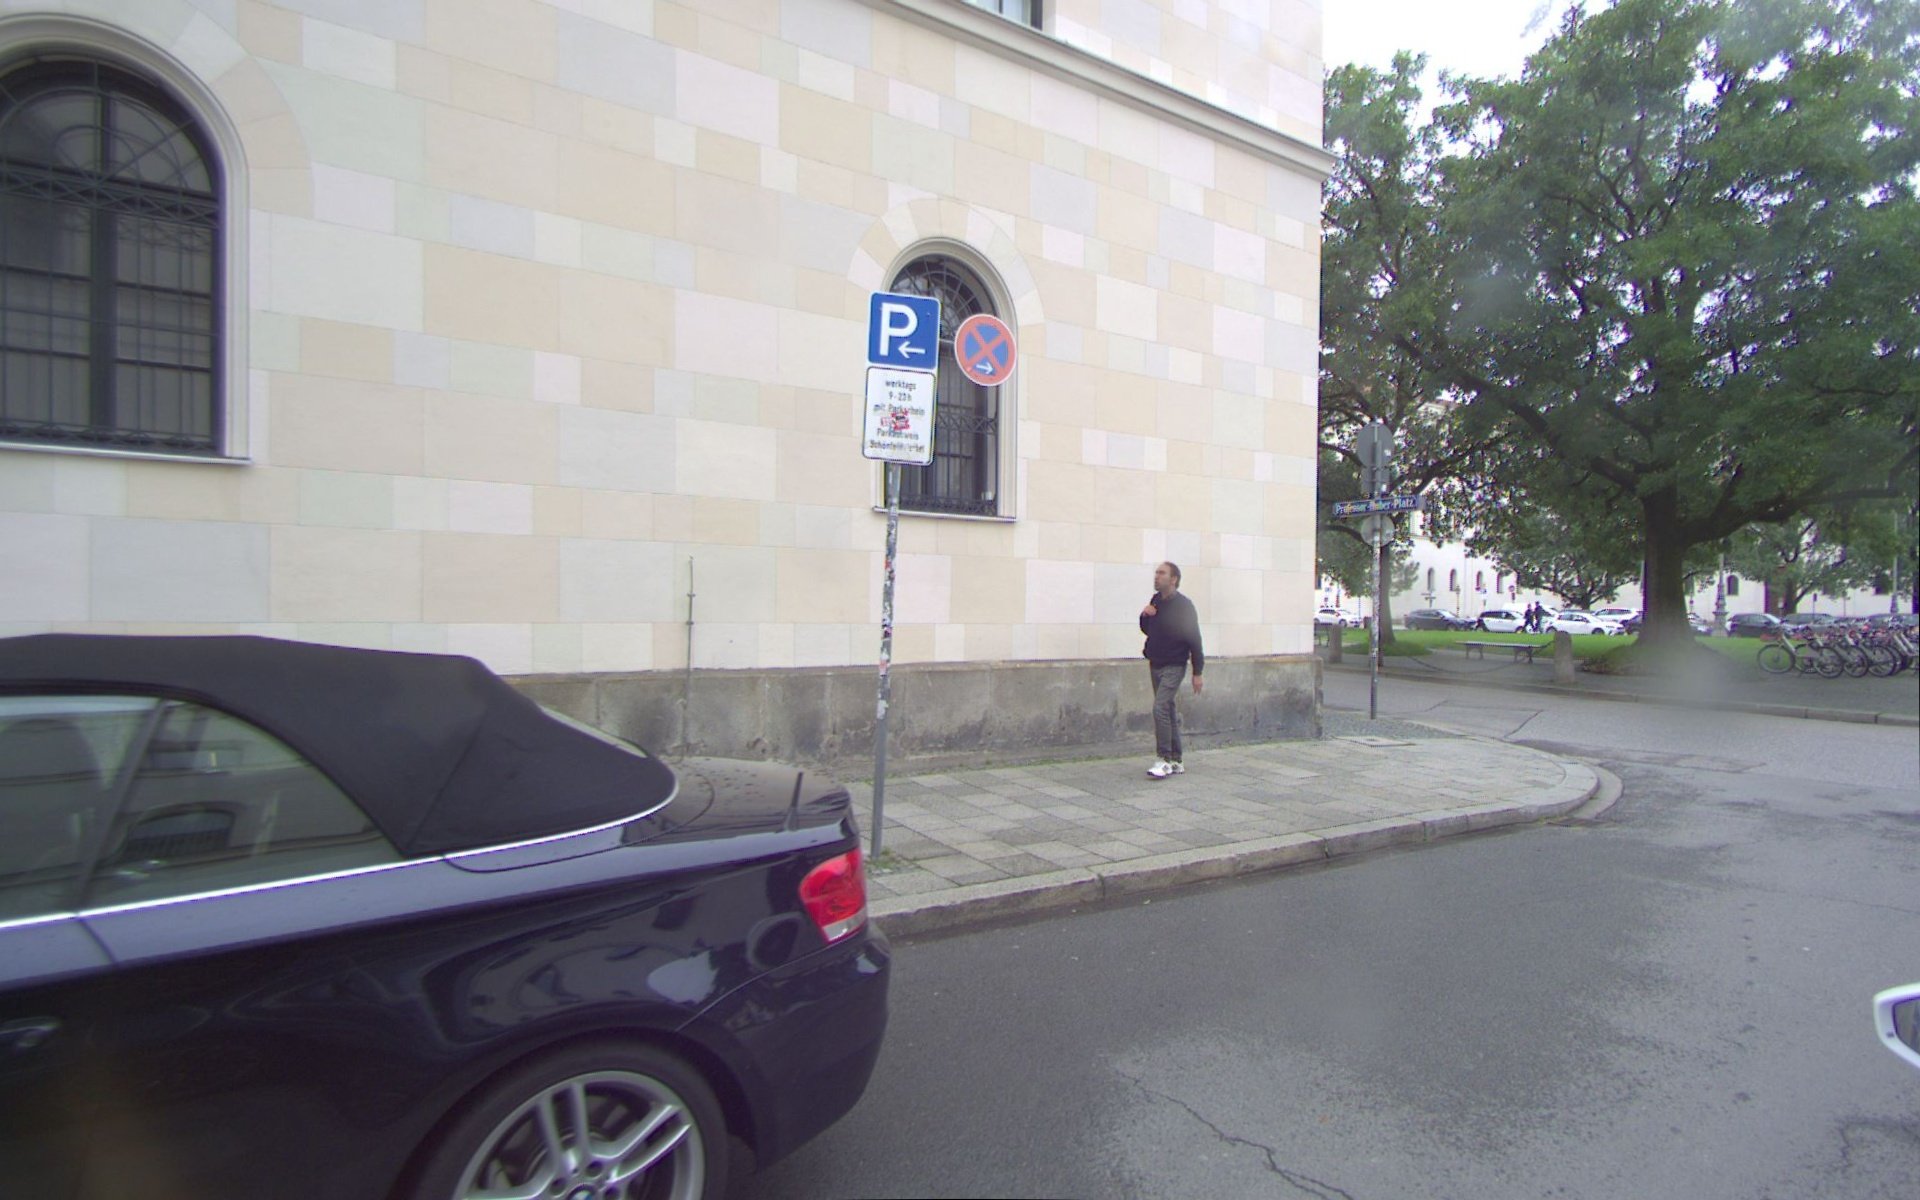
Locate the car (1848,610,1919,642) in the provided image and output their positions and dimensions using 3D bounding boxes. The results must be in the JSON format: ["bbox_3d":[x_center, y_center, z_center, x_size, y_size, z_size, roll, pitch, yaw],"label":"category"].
[{"bbox_3d":[43.039,1.171,45.418,1.979,1.394,3.962,0,0,-34],"label":"car"}]

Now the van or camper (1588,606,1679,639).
[{"bbox_3d":[43.604,1.393,65.098,1.980,2.040,4.549,0,0,-35],"label":"van or camper"}]

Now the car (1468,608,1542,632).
[{"bbox_3d":[33.133,1.204,61.163,1.586,1.394,3.649,0,0,-34],"label":"car"}]

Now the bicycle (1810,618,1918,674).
[{"bbox_3d":[19.673,0.983,21.892,0.688,1.113,1.615,0,1,-21],"label":"bicycle"}]

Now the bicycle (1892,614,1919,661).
[{"bbox_3d":[23.286,0.903,23.954,0.647,1.113,1.398,0,1,-21],"label":"bicycle"}]

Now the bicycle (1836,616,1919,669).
[{"bbox_3d":[21.013,0.952,22.756,0.688,1.113,1.615,0,1,-21],"label":"bicycle"}]

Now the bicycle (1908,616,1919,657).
[{"bbox_3d":[24.653,0.923,24.898,0.688,1.033,1.533,0,1,-21],"label":"bicycle"}]

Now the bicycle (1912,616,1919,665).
[{"bbox_3d":[22.406,0.938,22.291,0.688,1.113,1.707,0,1,-21],"label":"bicycle"}]

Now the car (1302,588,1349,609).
[{"bbox_3d":[36.072,-0.194,99.211,1.979,2.041,3.962,0,1,-34],"label":"car"}]

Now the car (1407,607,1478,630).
[{"bbox_3d":[31.001,1.169,64.573,1.586,1.394,3.882,0,0,-34],"label":"car"}]

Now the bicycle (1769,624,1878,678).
[{"bbox_3d":[18.318,1.057,21.340,0.688,1.049,1.615,0,1,-21],"label":"bicycle"}]

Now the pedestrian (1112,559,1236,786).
[{"bbox_3d":[1.772,0.572,8.347,0.682,1.772,0.749,0,-1,-35],"label":"pedestrian"}]

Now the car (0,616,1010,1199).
[{"bbox_3d":[-2.071,0.744,2.035,4.166,1.411,1.689,1,-2,-33],"label":"car"}]

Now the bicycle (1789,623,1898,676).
[{"bbox_3d":[18.987,1.045,21.625,0.688,1.049,1.615,0,1,-21],"label":"bicycle"}]

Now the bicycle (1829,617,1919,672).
[{"bbox_3d":[20.359,0.956,22.184,0.688,1.113,1.615,0,1,-21],"label":"bicycle"}]

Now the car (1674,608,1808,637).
[{"bbox_3d":[39.784,1.093,51.297,1.979,1.394,5.042,0,0,-34],"label":"car"}]

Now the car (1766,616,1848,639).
[{"bbox_3d":[53.265,1.711,63.218,1.586,1.394,3.649,0,0,-34],"label":"car"}]

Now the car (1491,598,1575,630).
[{"bbox_3d":[38.523,0.917,67.649,1.980,2.040,4.508,0,0,-34],"label":"car"}]

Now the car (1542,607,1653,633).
[{"bbox_3d":[36.073,1.099,56.964,1.979,1.394,4.937,0,0,-34],"label":"car"}]

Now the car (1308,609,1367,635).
[{"bbox_3d":[29.325,1.687,78.108,1.836,1.887,3.965,0,1,-32],"label":"car"}]

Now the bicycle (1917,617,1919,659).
[{"bbox_3d":[24.161,0.934,24.147,0.688,1.033,1.533,0,1,-21],"label":"bicycle"}]

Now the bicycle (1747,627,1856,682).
[{"bbox_3d":[17.628,1.124,21.074,0.688,1.049,1.615,0,1,-21],"label":"bicycle"}]
